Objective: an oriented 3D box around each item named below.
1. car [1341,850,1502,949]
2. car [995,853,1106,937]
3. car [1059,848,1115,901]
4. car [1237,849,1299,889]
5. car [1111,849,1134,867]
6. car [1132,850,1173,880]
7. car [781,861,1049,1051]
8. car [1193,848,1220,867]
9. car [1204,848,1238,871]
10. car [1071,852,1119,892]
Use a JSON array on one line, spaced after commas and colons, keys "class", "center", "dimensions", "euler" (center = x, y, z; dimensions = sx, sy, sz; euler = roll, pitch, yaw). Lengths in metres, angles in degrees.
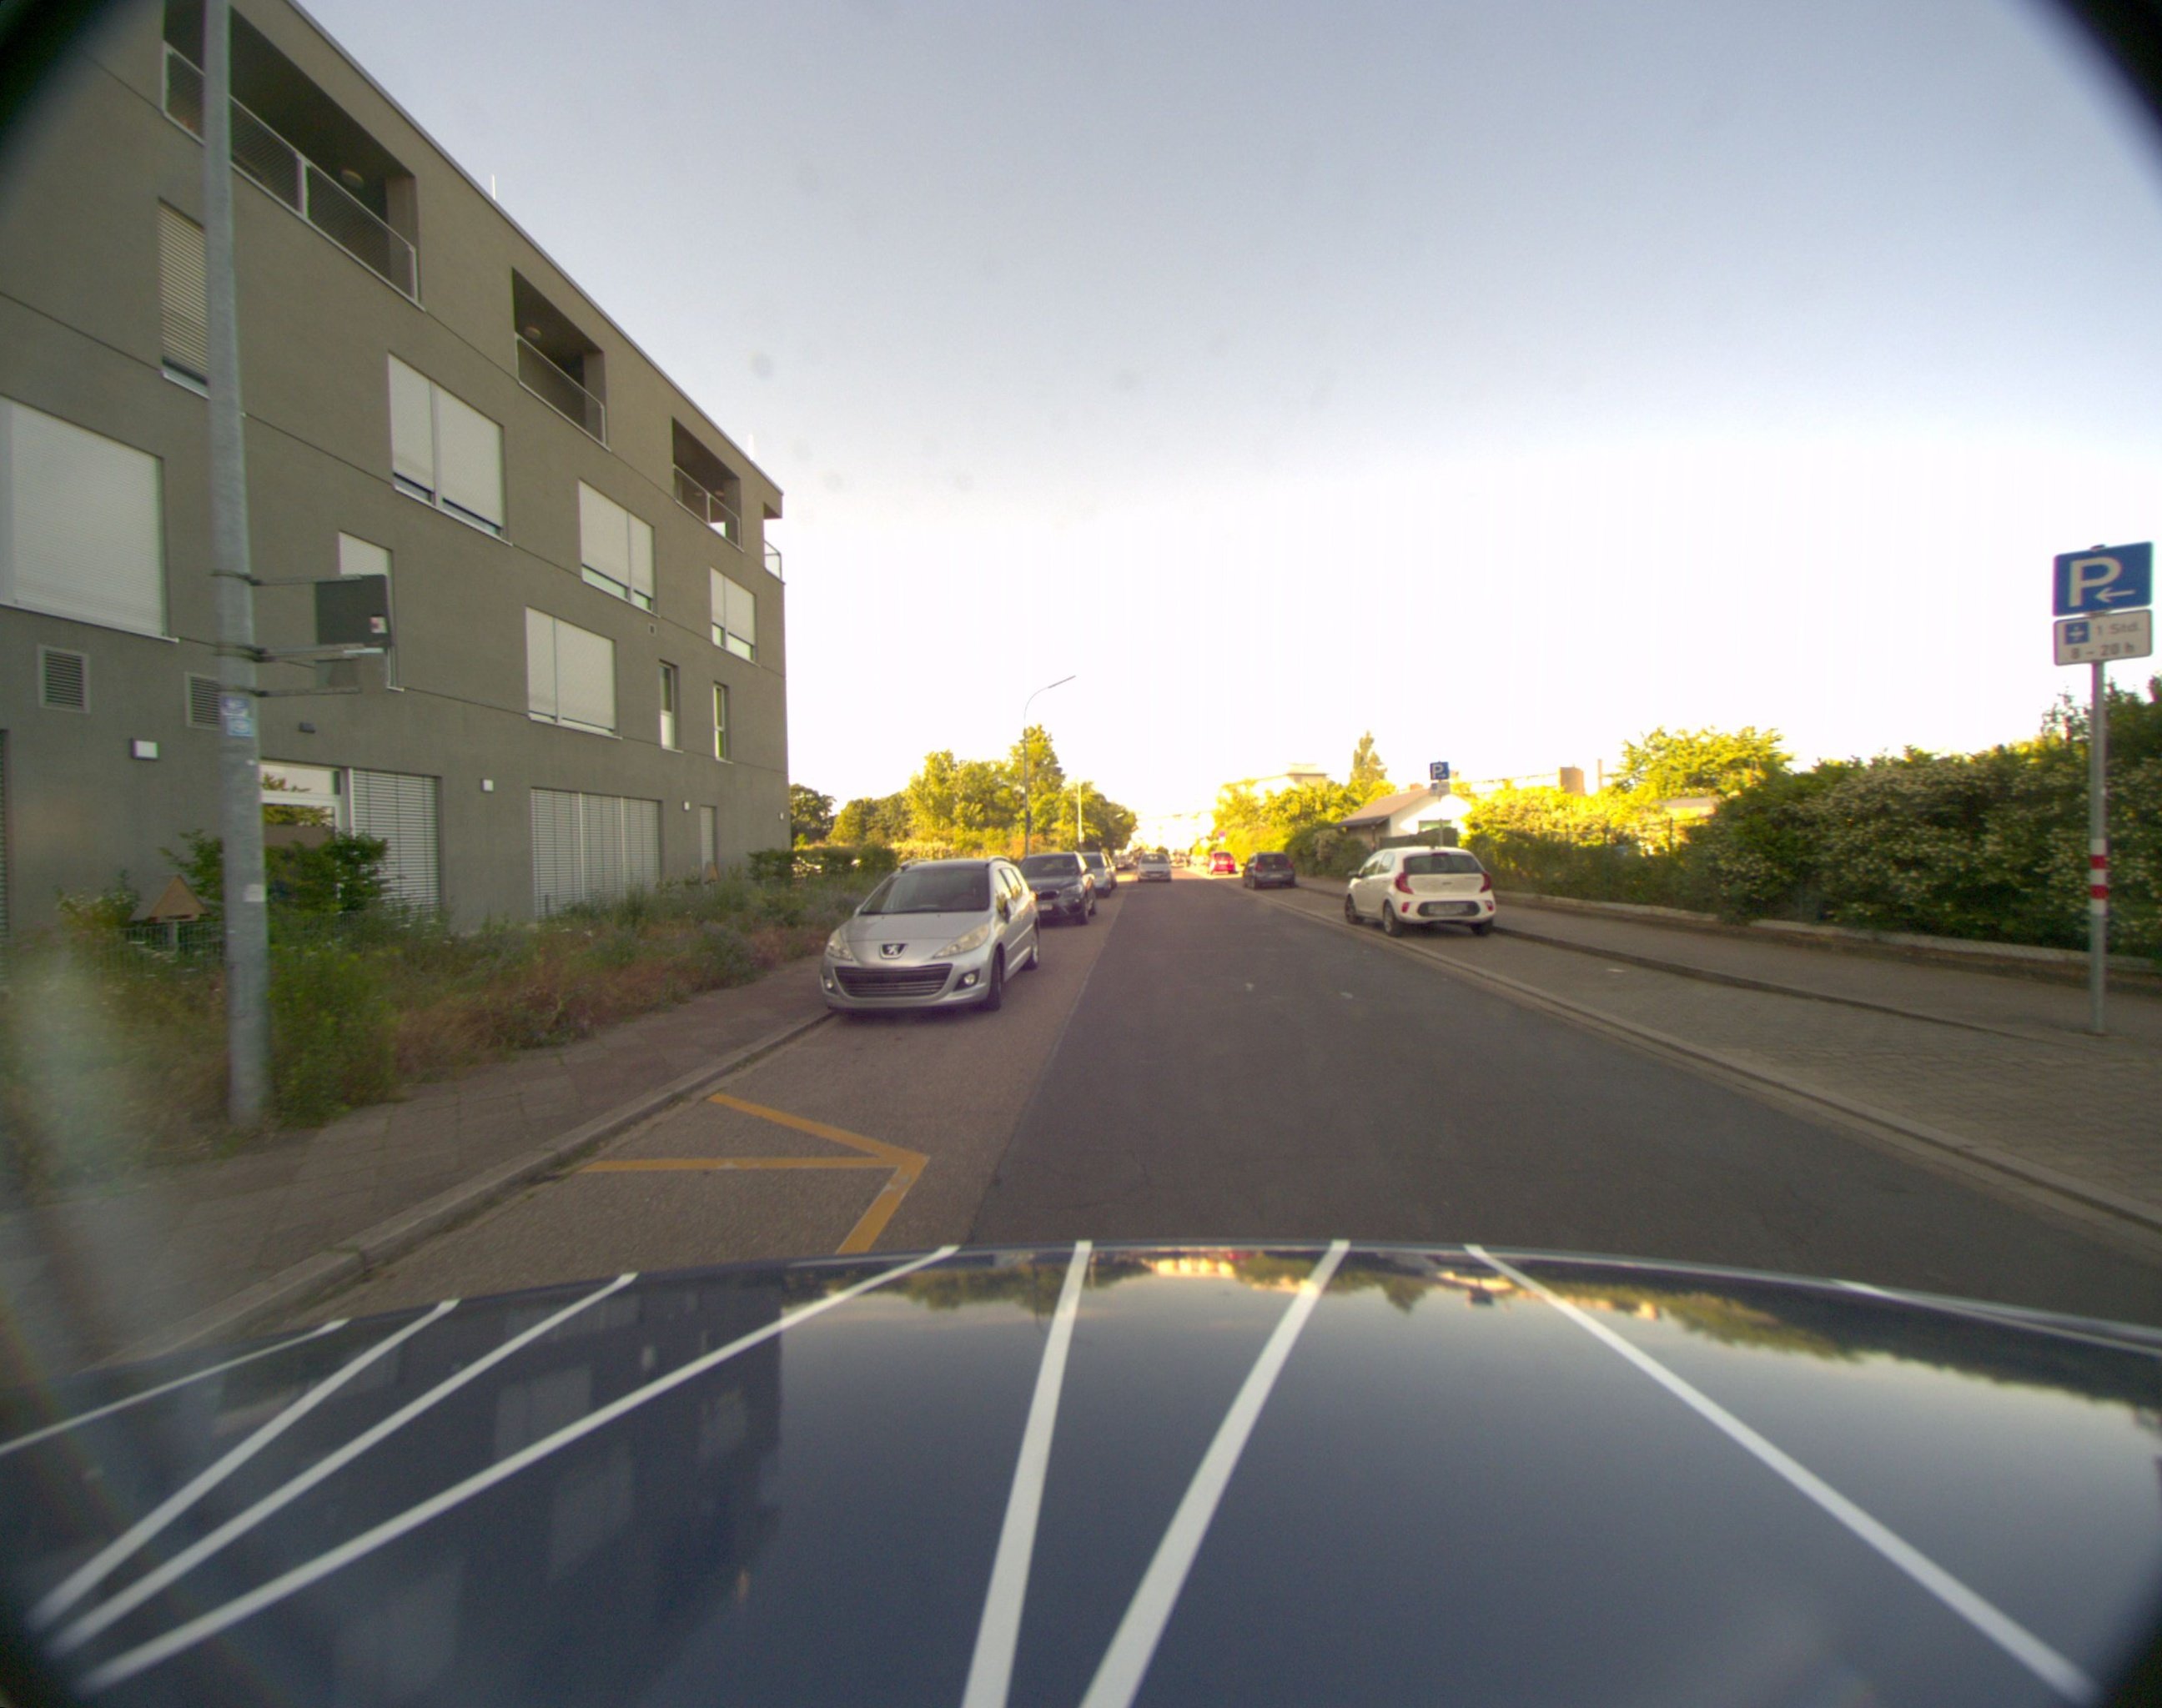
[{"class": "car", "center": [5.851, 0.694, 13.468], "dimensions": [1.531, 1.479, 3.402], "euler": [-2, 0, 5]}, {"class": "car", "center": [-0.536, 0.826, 17.630], "dimensions": [1.748, 1.557, 4.805], "euler": [-3, 0, 7]}, {"class": "car", "center": [0.298, 0.699, 28.007], "dimensions": [1.710, 1.695, 4.350], "euler": [-4, 0, 4]}, {"class": "car", "center": [7.557, 0.559, 31.089], "dimensions": [1.699, 1.415, 4.518], "euler": [-4, 0, 5]}, {"class": "car", "center": [3.750, 0.310, 68.252], "dimensions": [1.872, 1.517, 4.156], "euler": [-2, 0, 6]}, {"class": "car", "center": [3.630, 0.537, 39.163], "dimensions": [1.679, 1.440, 3.999], "euler": [-1, 0, 0]}, {"class": "car", "center": [-1.541, 0.923, 8.677], "dimensions": [1.710, 1.517, 4.156], "euler": [-3, 0, 6]}, {"class": "car", "center": [9.682, 0.245, 58.878], "dimensions": [1.699, 1.361, 3.911], "euler": [-1, 0, 5]}, {"class": "car", "center": [8.996, 0.329, 49.121], "dimensions": [1.699, 1.421, 4.387], "euler": [-1, 0, 5]}, {"class": "car", "center": [0.654, 0.755, 32.839], "dimensions": [1.710, 1.517, 3.094], "euler": [-4, 0, 6]}]
